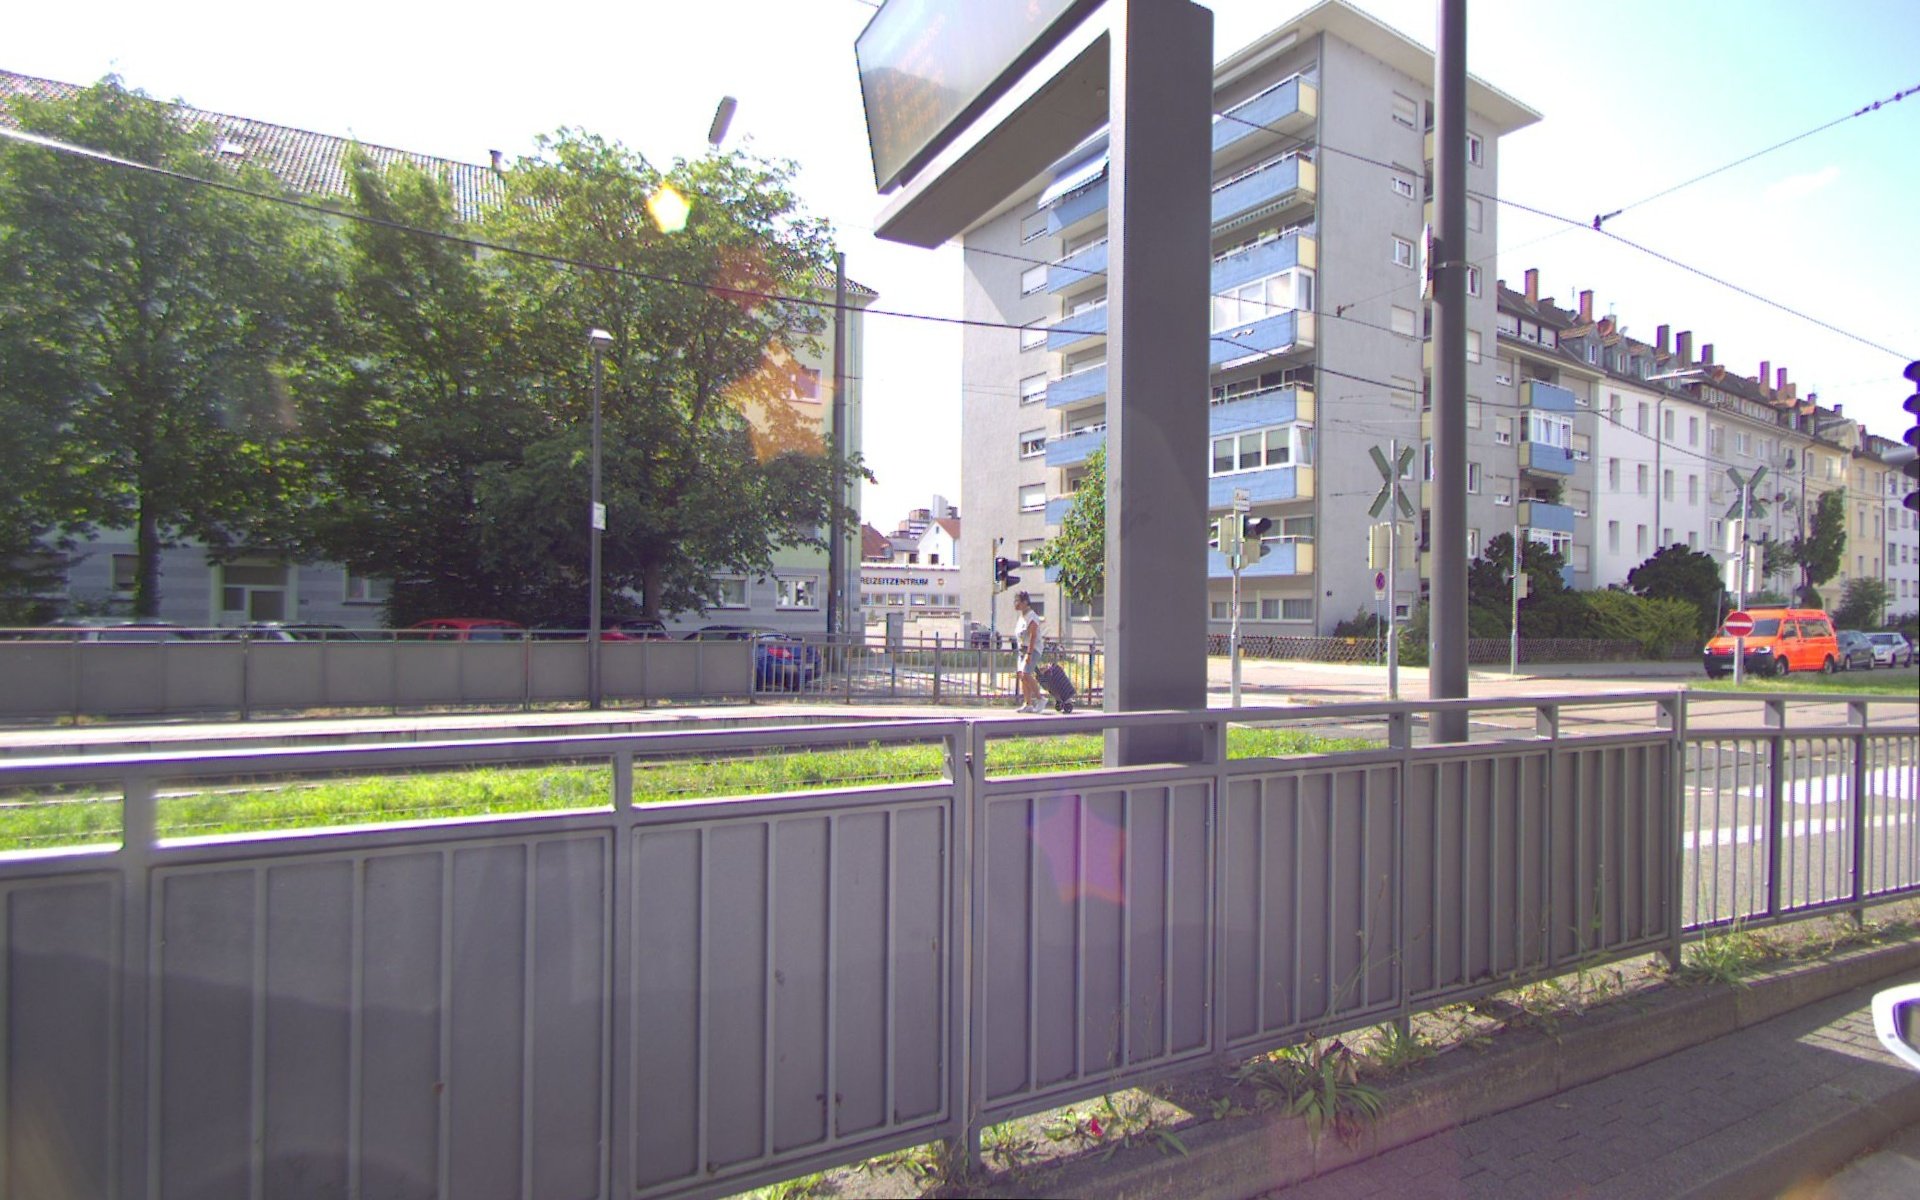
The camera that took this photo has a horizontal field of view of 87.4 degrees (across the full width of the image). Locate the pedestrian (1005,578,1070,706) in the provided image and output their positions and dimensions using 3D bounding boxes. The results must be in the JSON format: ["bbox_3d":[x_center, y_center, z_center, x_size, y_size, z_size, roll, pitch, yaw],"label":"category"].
[{"bbox_3d":[1.050,0.564,13.741,0.624,1.686,0.657,1,-1,-29],"label":"pedestrian"}]

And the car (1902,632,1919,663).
[{"bbox_3d":[47.460,2.335,48.674,3.958,1.461,1.757,2,0,-34],"label":"car"}]

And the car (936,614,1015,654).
[{"bbox_3d":[0.695,1.578,47.577,1.976,1.706,3.968,2,0,-30],"label":"car"}]

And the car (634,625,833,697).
[{"bbox_3d":[-4.938,1.267,21.840,4.055,1.413,1.608,0,-1,24],"label":"car"}]

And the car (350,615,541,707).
[{"bbox_3d":[-9.935,1.098,19.354,3.603,1.600,1.645,0,-1,32],"label":"car"}]

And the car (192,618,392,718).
[{"bbox_3d":[-12.011,1.141,18.030,3.603,1.600,1.645,0,-1,32],"label":"car"}]

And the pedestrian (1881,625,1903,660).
[{"bbox_3d":[48.828,2.203,52.632,0.857,1.817,0.700,1,-1,-36],"label":"pedestrian"}]

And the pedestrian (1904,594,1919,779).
[{"bbox_3d":[9.095,0.799,9.030,0.630,1.670,0.701,2,1,-32],"label":"pedestrian"}]

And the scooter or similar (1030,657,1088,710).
[{"bbox_3d":[1.404,1.173,14.207,0.692,0.708,0.440,1,-1,-29],"label":"scooter or similar"}]

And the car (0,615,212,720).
[{"bbox_3d":[-14.157,1.028,16.586,3.959,1.534,1.605,0,-1,33],"label":"car"}]

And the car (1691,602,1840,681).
[{"bbox_3d":[25.170,1.265,31.356,4.774,2.305,1.985,1,-2,-29],"label":"car"}]

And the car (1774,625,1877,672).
[{"bbox_3d":[34.323,1.905,39.821,3.956,1.667,1.982,2,0,-32],"label":"car"}]

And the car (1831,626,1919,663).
[{"bbox_3d":[39.288,1.895,43.123,3.956,1.461,1.758,2,0,-32],"label":"car"}]
